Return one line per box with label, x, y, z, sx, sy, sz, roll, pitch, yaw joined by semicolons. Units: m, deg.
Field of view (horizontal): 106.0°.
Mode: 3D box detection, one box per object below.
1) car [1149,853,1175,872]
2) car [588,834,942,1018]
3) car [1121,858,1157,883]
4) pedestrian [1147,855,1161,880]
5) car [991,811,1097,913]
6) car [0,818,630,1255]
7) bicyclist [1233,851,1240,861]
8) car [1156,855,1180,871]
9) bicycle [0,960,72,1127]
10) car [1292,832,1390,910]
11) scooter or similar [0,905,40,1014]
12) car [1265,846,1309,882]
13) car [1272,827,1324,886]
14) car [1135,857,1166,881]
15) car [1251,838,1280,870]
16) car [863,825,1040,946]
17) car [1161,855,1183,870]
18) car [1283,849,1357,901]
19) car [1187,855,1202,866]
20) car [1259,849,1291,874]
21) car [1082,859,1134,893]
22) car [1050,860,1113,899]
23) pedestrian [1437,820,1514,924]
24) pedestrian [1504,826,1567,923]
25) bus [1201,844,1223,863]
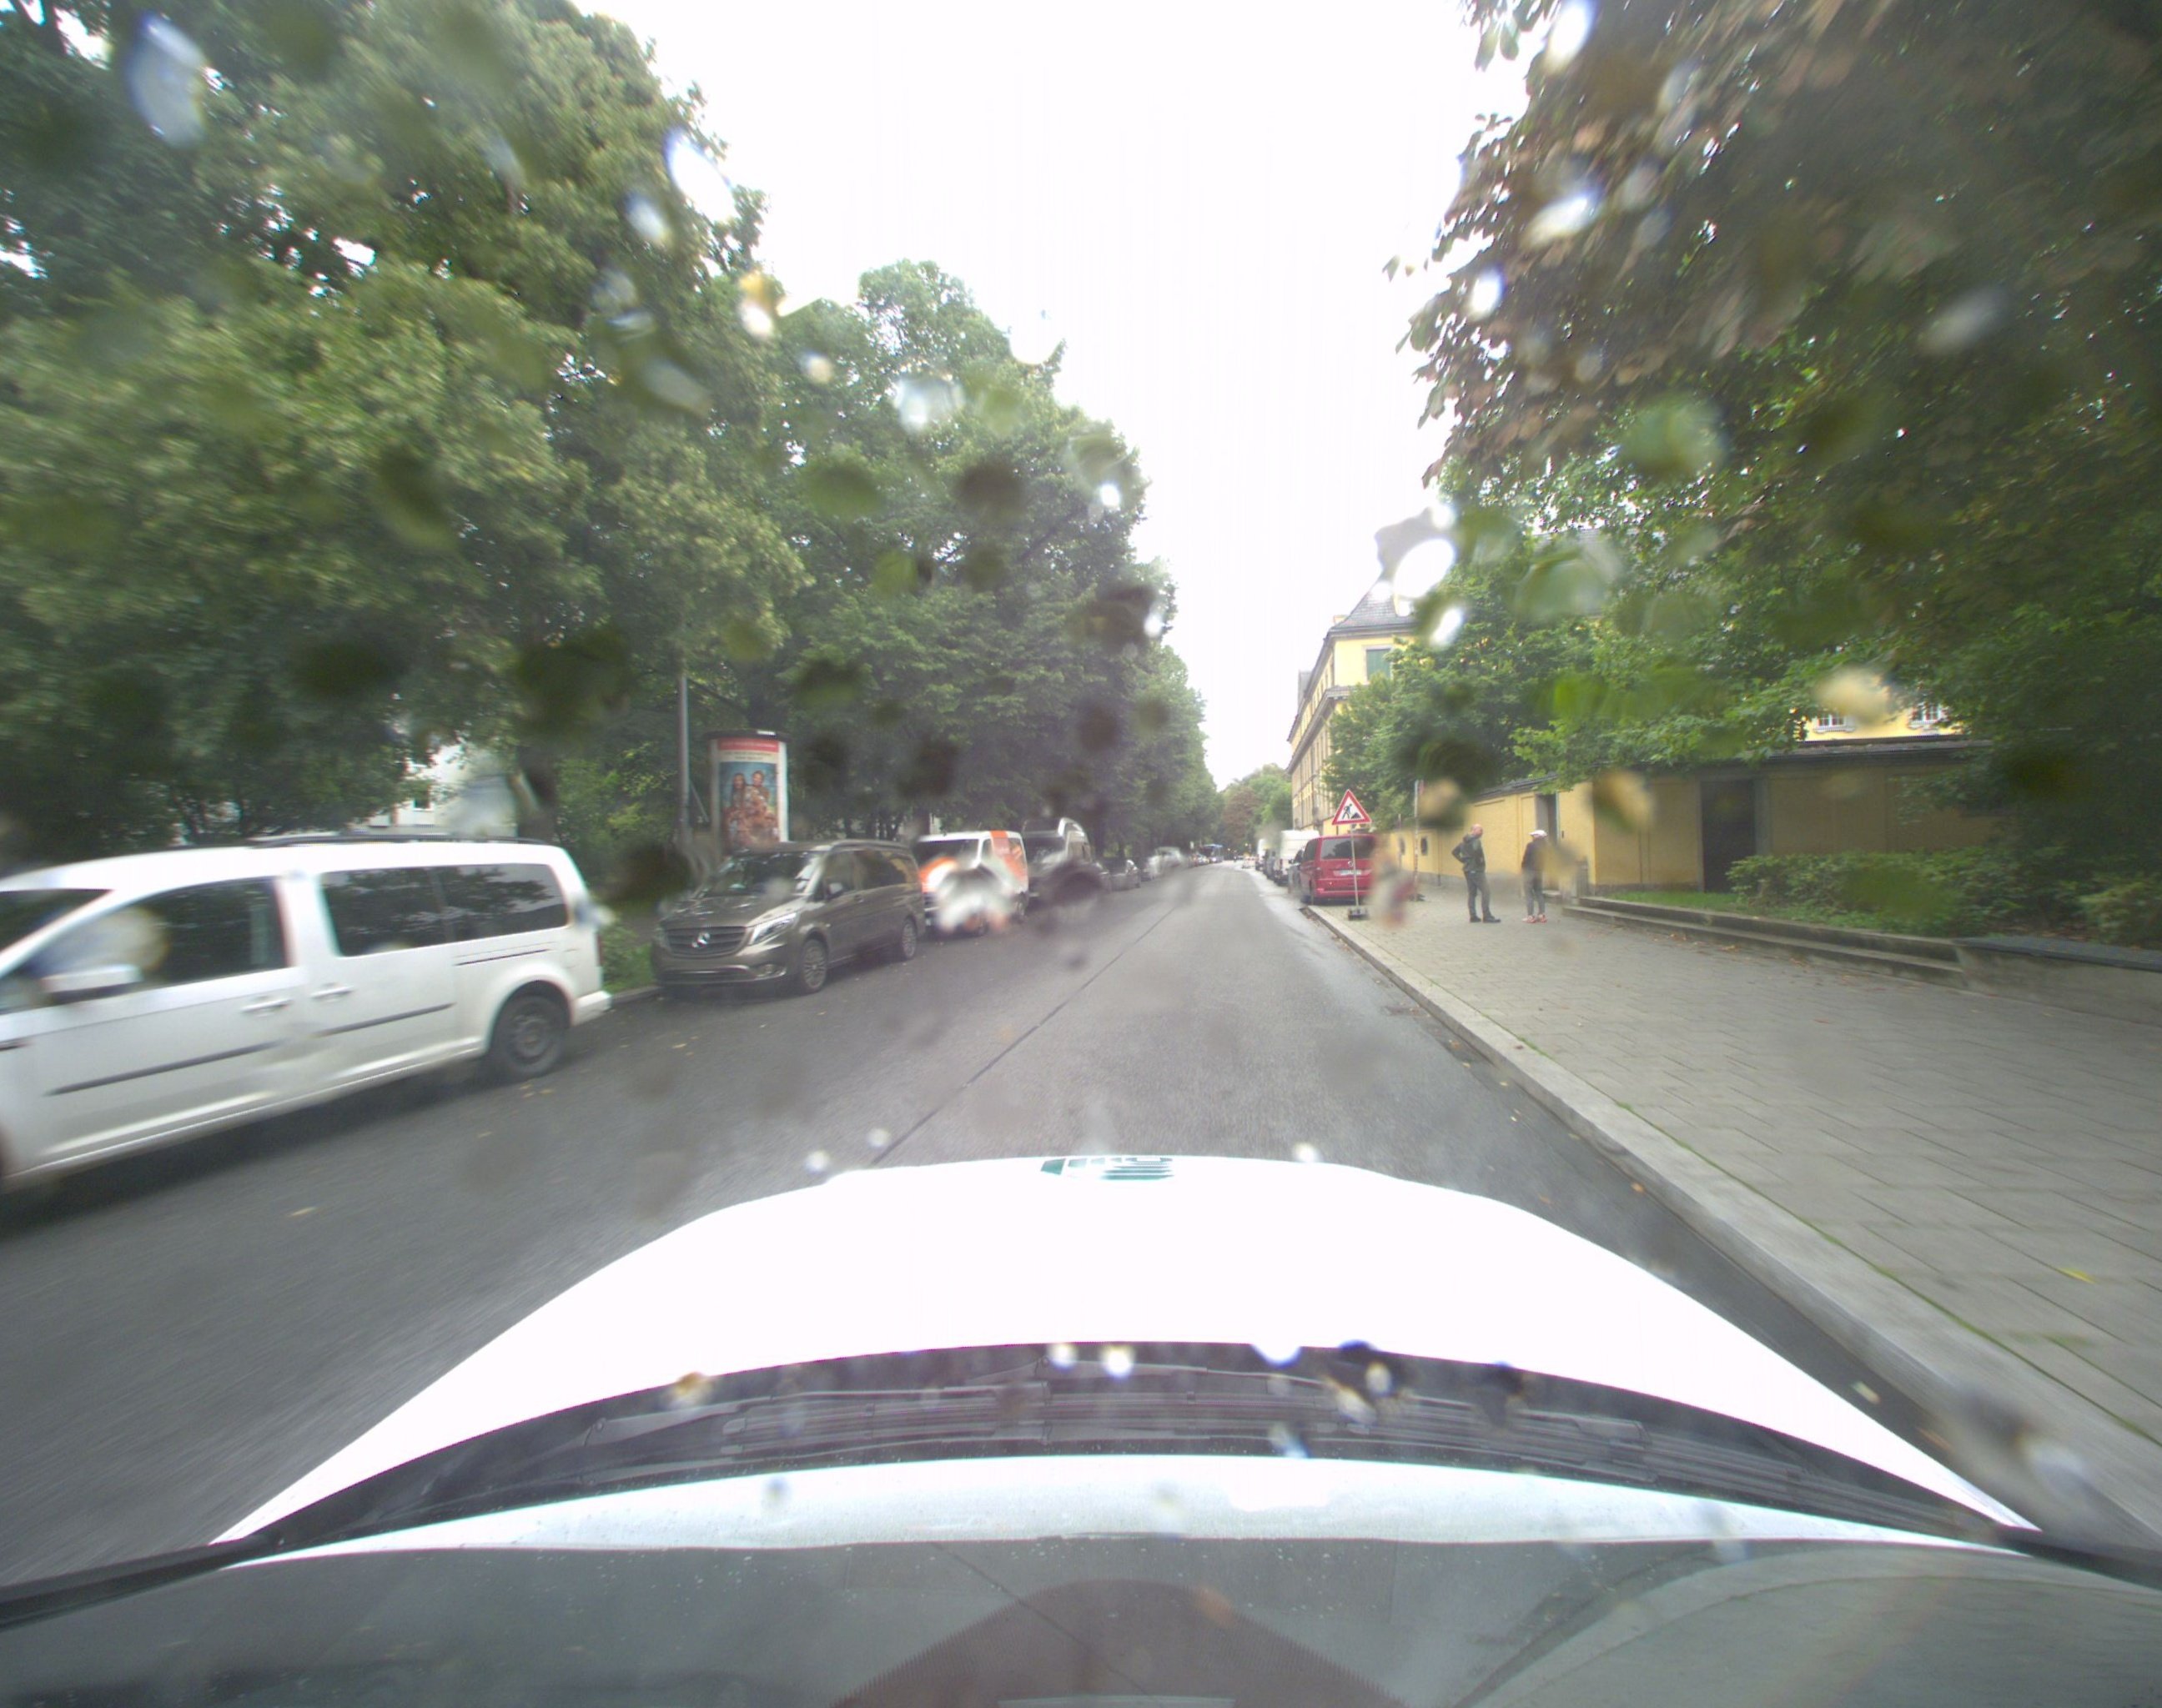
car;6.795;0.696;68.210;1.982;1.420;4.009;-2;0;8
car;-3.948;0.797;11.653;2.014;1.908;5.682;-3;-1;9
car;3.727;1.031;52.014;1.982;1.487;4.138;-2;0;8
pedestrian;4.890;0.912;54.777;0.880;1.598;0.824;-2;-1;3
car;-1.067;0.240;27.523;2.159;3.002;6.251;-2;0;10
car;-5.492;0.827;4.944;2.070;1.903;4.874;-2;0;12
bicyclist;24.854;0.251;129.912;1.014;1.545;1.261;-2;0;11
car;7.912;0.808;74.083;1.982;1.420;4.009;-2;0;8
bicycle;-7.352;1.244;4.674;0.613;1.025;1.859;-2;0;13
car;7.319;0.447;23.422;1.900;1.937;4.981;-2;0;9
scooter or similar;-12.562;1.205;8.673;0.697;1.191;1.662;-2;0;9
car;11.519;0.541;45.760;1.982;1.883;4.010;-2;0;9
car;10.305;0.104;38.998;1.981;2.558;5.447;-2;0;11
car;5.025;1.054;58.446;1.982;1.620;4.138;-2;0;8
car;15.850;-0.014;70.057;1.830;2.622;4.390;-2;0;5
car;-2.705;0.633;18.789;2.070;2.265;5.620;-4;-1;11
car;8.949;0.830;79.517;1.982;1.420;4.009;-2;0;8
car;8.350;0.698;28.807;1.981;1.634;4.577;-2;0;10
car;15.617;0.919;111.750;1.982;1.420;4.009;-2;0;8
car;13.572;0.507;57.068;1.784;1.679;4.010;-2;0;9
car;1.327;1.001;38.614;1.982;1.420;4.138;-2;0;8
car;0.074;0.989;33.182;1.982;1.420;4.009;-2;0;8
pedestrian;7.313;0.318;15.133;0.821;1.836;0.947;-2;-1;-16
pedestrian;8.063;0.359;14.472;0.633;1.667;0.694;-2;-1;-11
bus;21.782;-0.081;135.661;2.923;2.919;8.252;-2;0;5
